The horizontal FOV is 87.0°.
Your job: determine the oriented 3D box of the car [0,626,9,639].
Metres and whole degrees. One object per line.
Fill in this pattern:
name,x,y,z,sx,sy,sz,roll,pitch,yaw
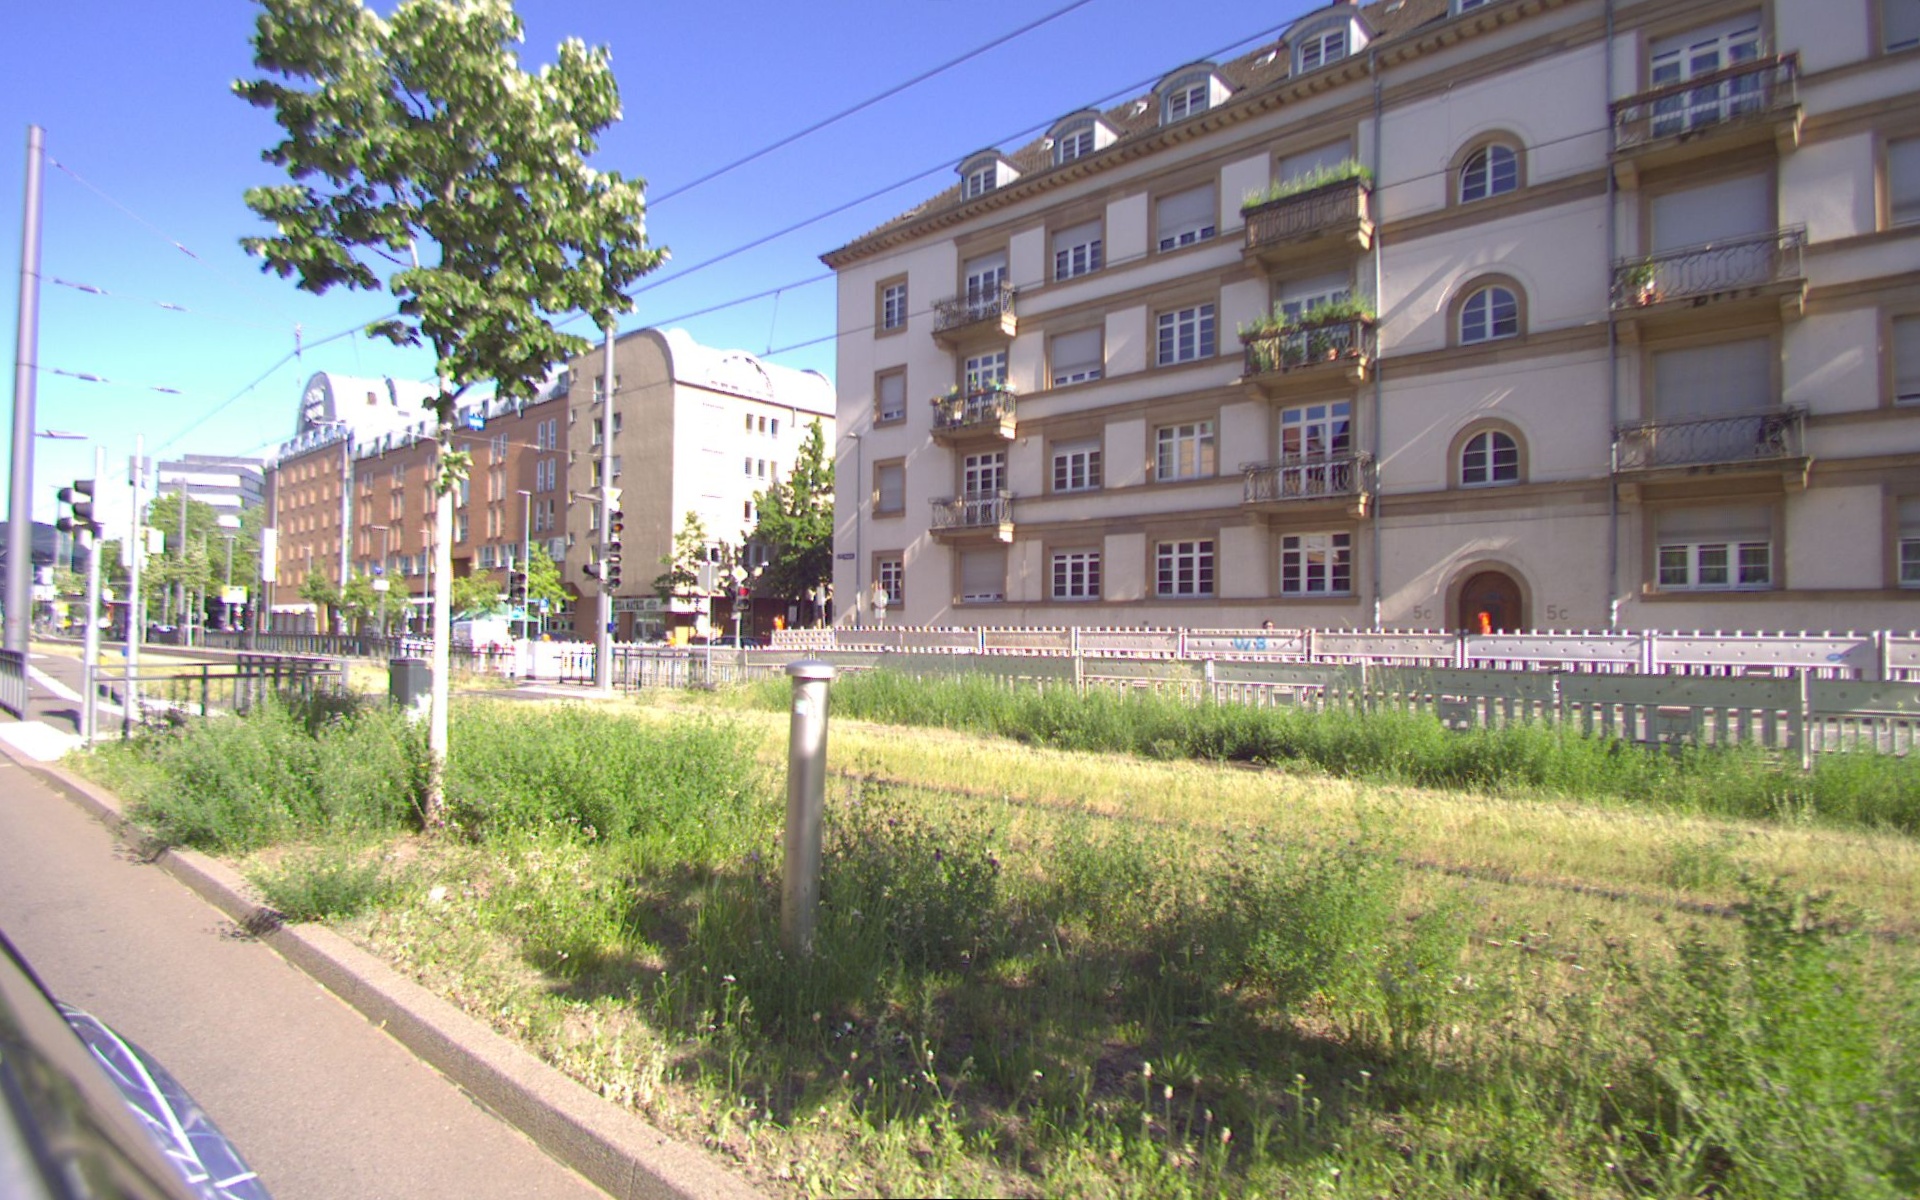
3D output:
car,-119.187,3.927,123.604,1.759,1.567,4.359,-1,-2,42

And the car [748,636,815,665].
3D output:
car,-10.285,2.891,58.224,3.997,1.497,1.693,0,-1,40

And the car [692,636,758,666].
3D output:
car,-12.541,2.702,53.993,3.334,1.439,1.423,0,-1,29

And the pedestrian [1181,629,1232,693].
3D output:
pedestrian,6.167,1.512,25.337,1.020,1.529,0.778,-1,-1,41

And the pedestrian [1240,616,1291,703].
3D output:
pedestrian,6.762,1.291,22.402,0.871,1.877,0.758,-1,-1,41

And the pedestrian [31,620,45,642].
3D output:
pedestrian,-81.149,2.745,89.065,0.810,1.903,0.769,3,-3,-45

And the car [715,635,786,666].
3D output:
car,-11.602,2.759,56.013,3.955,1.564,1.457,0,-1,33

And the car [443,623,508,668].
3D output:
car,-26.714,2.454,55.709,1.969,2.314,5.197,1,-1,-41

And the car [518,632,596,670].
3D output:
car,-18.968,2.350,47.551,3.996,1.652,1.677,0,-1,40
